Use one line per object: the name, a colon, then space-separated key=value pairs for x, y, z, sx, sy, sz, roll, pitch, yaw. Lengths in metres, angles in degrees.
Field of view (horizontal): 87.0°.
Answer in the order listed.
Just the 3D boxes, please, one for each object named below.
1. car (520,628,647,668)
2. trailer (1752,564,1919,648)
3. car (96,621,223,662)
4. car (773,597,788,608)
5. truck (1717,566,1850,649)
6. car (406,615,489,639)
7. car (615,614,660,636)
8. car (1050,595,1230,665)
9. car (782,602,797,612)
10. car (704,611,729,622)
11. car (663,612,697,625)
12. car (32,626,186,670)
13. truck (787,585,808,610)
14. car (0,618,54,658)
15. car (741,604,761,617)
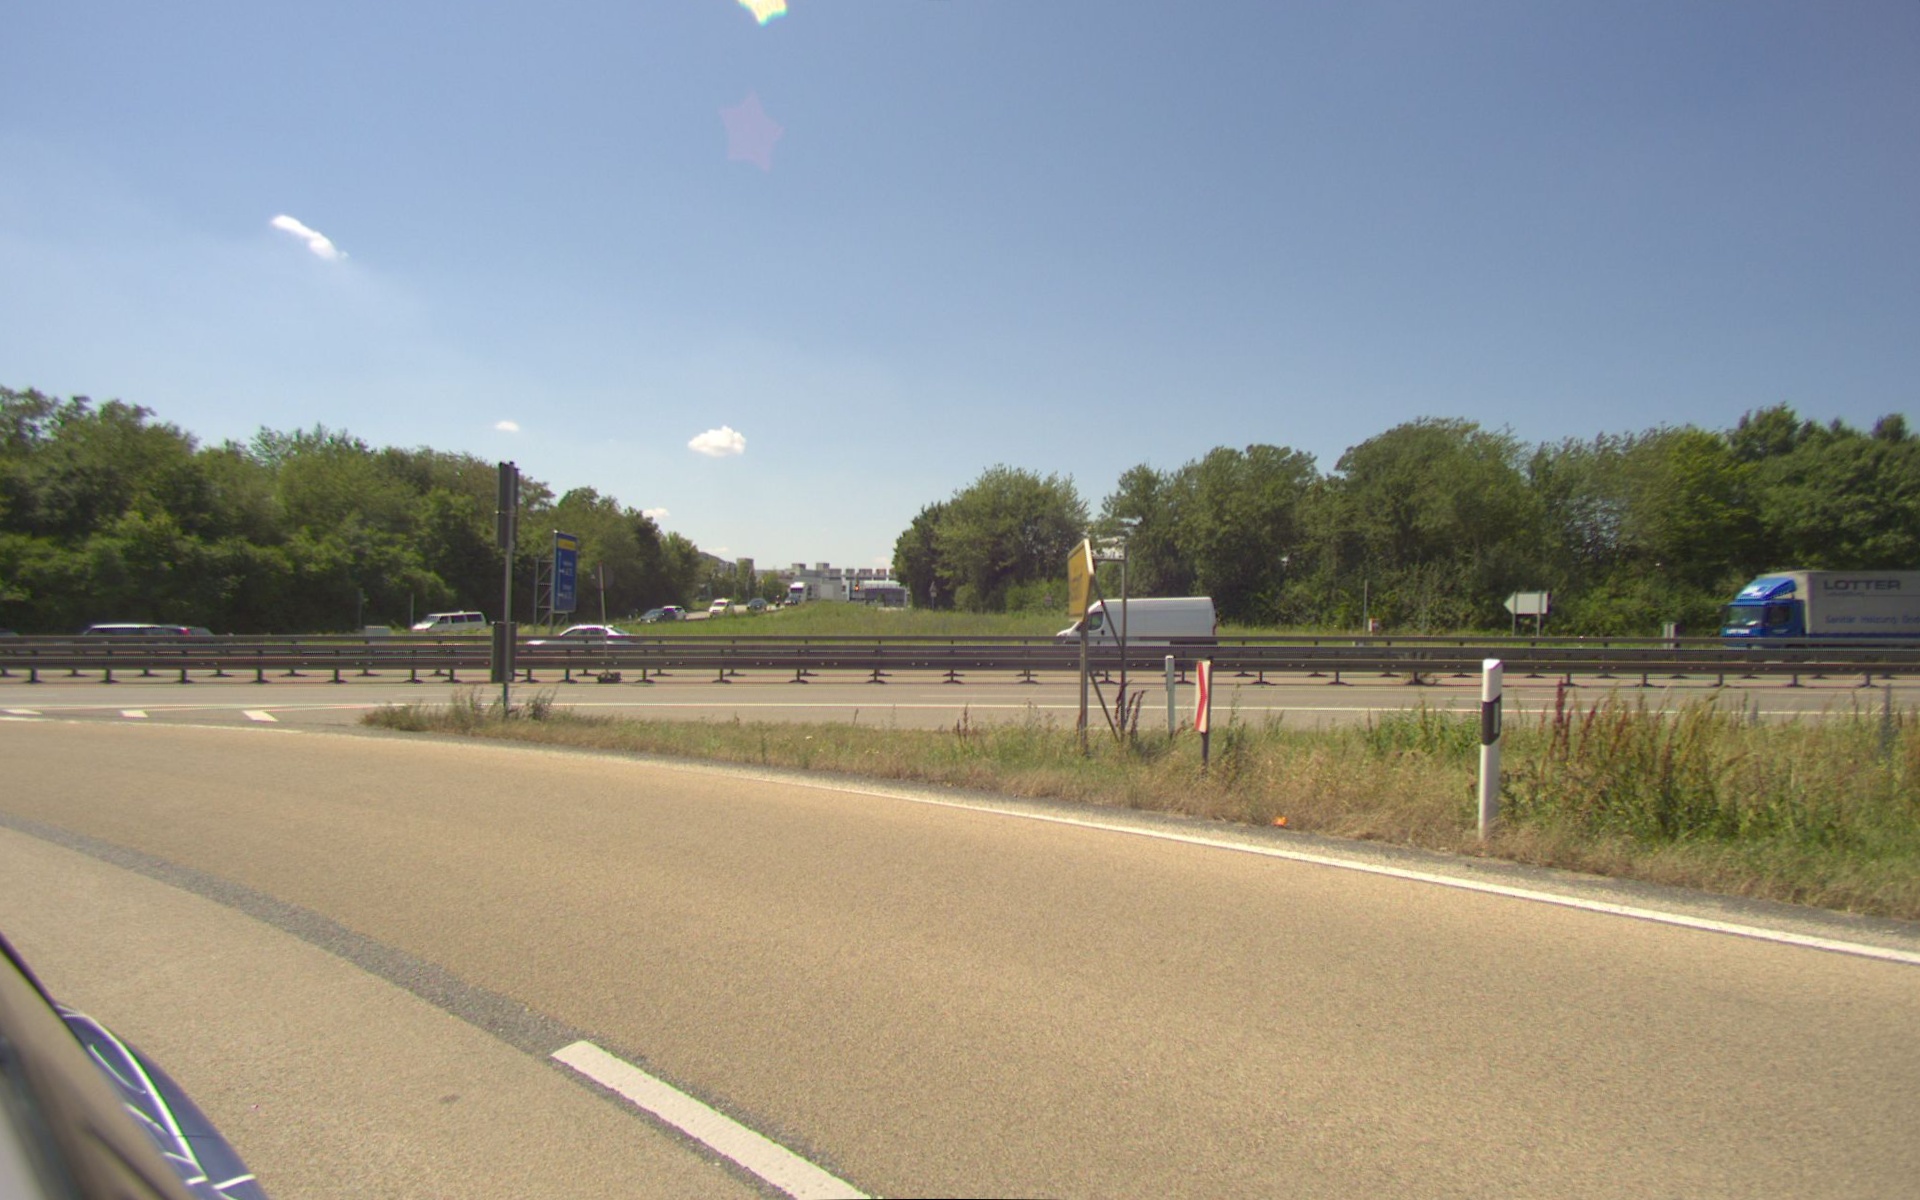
car: x=-15.057 y=1.905 z=40.615 sx=4.473 sy=1.496 sz=1.703 roll=-1 pitch=-1 yaw=1
trailer: x=34.686 y=0.234 z=38.367 sx=7.130 sy=3.032 sz=2.302 roll=-1 pitch=-2 yaw=5
car: x=-29.803 y=1.526 z=37.724 sx=3.617 sy=1.461 sz=1.487 roll=-1 pitch=-1 yaw=2
car: x=-25.512 y=0.331 z=144.020 sx=1.578 sy=1.443 sz=3.569 roll=-1 pitch=-2 yaw=0
truck: x=31.398 y=0.298 z=38.693 sx=3.038 sy=3.032 sz=2.312 roll=-1 pitch=-2 yaw=5
car: x=-36.600 y=1.918 z=72.412 sx=2.008 sy=1.653 sz=5.065 roll=-1 pitch=-2 yaw=27
car: x=-27.422 y=2.105 z=86.182 sx=1.977 sy=1.721 sz=4.205 roll=-1 pitch=-1 yaw=9
car: x=6.850 y=1.141 z=39.251 sx=6.611 sy=2.557 sz=2.161 roll=-1 pitch=-1 yaw=4
car: x=-25.161 y=1.032 z=149.666 sx=1.578 sy=1.443 sz=3.569 roll=-1 pitch=-2 yaw=0
car: x=-26.729 y=1.846 z=111.266 sx=1.513 sy=1.175 sz=4.069 roll=-1 pitch=-2 yaw=5
car: x=-27.634 y=1.830 z=99.912 sx=1.518 sy=1.175 sz=3.856 roll=-1 pitch=-2 yaw=15
car: x=-28.036 y=1.557 z=33.399 sx=3.869 sy=1.358 sz=1.518 roll=-1 pitch=-1 yaw=2
truck: x=-27.183 y=-0.397 z=169.635 sx=2.793 sy=4.190 sz=3.999 roll=-1 pitch=-1 yaw=1
car: x=-36.023 y=1.409 z=37.473 sx=3.523 sy=1.404 sz=1.653 roll=-1 pitch=-1 yaw=2
car: x=-26.576 y=1.346 z=128.623 sx=1.580 sy=1.443 sz=3.744 roll=-1 pitch=-2 yaw=4
